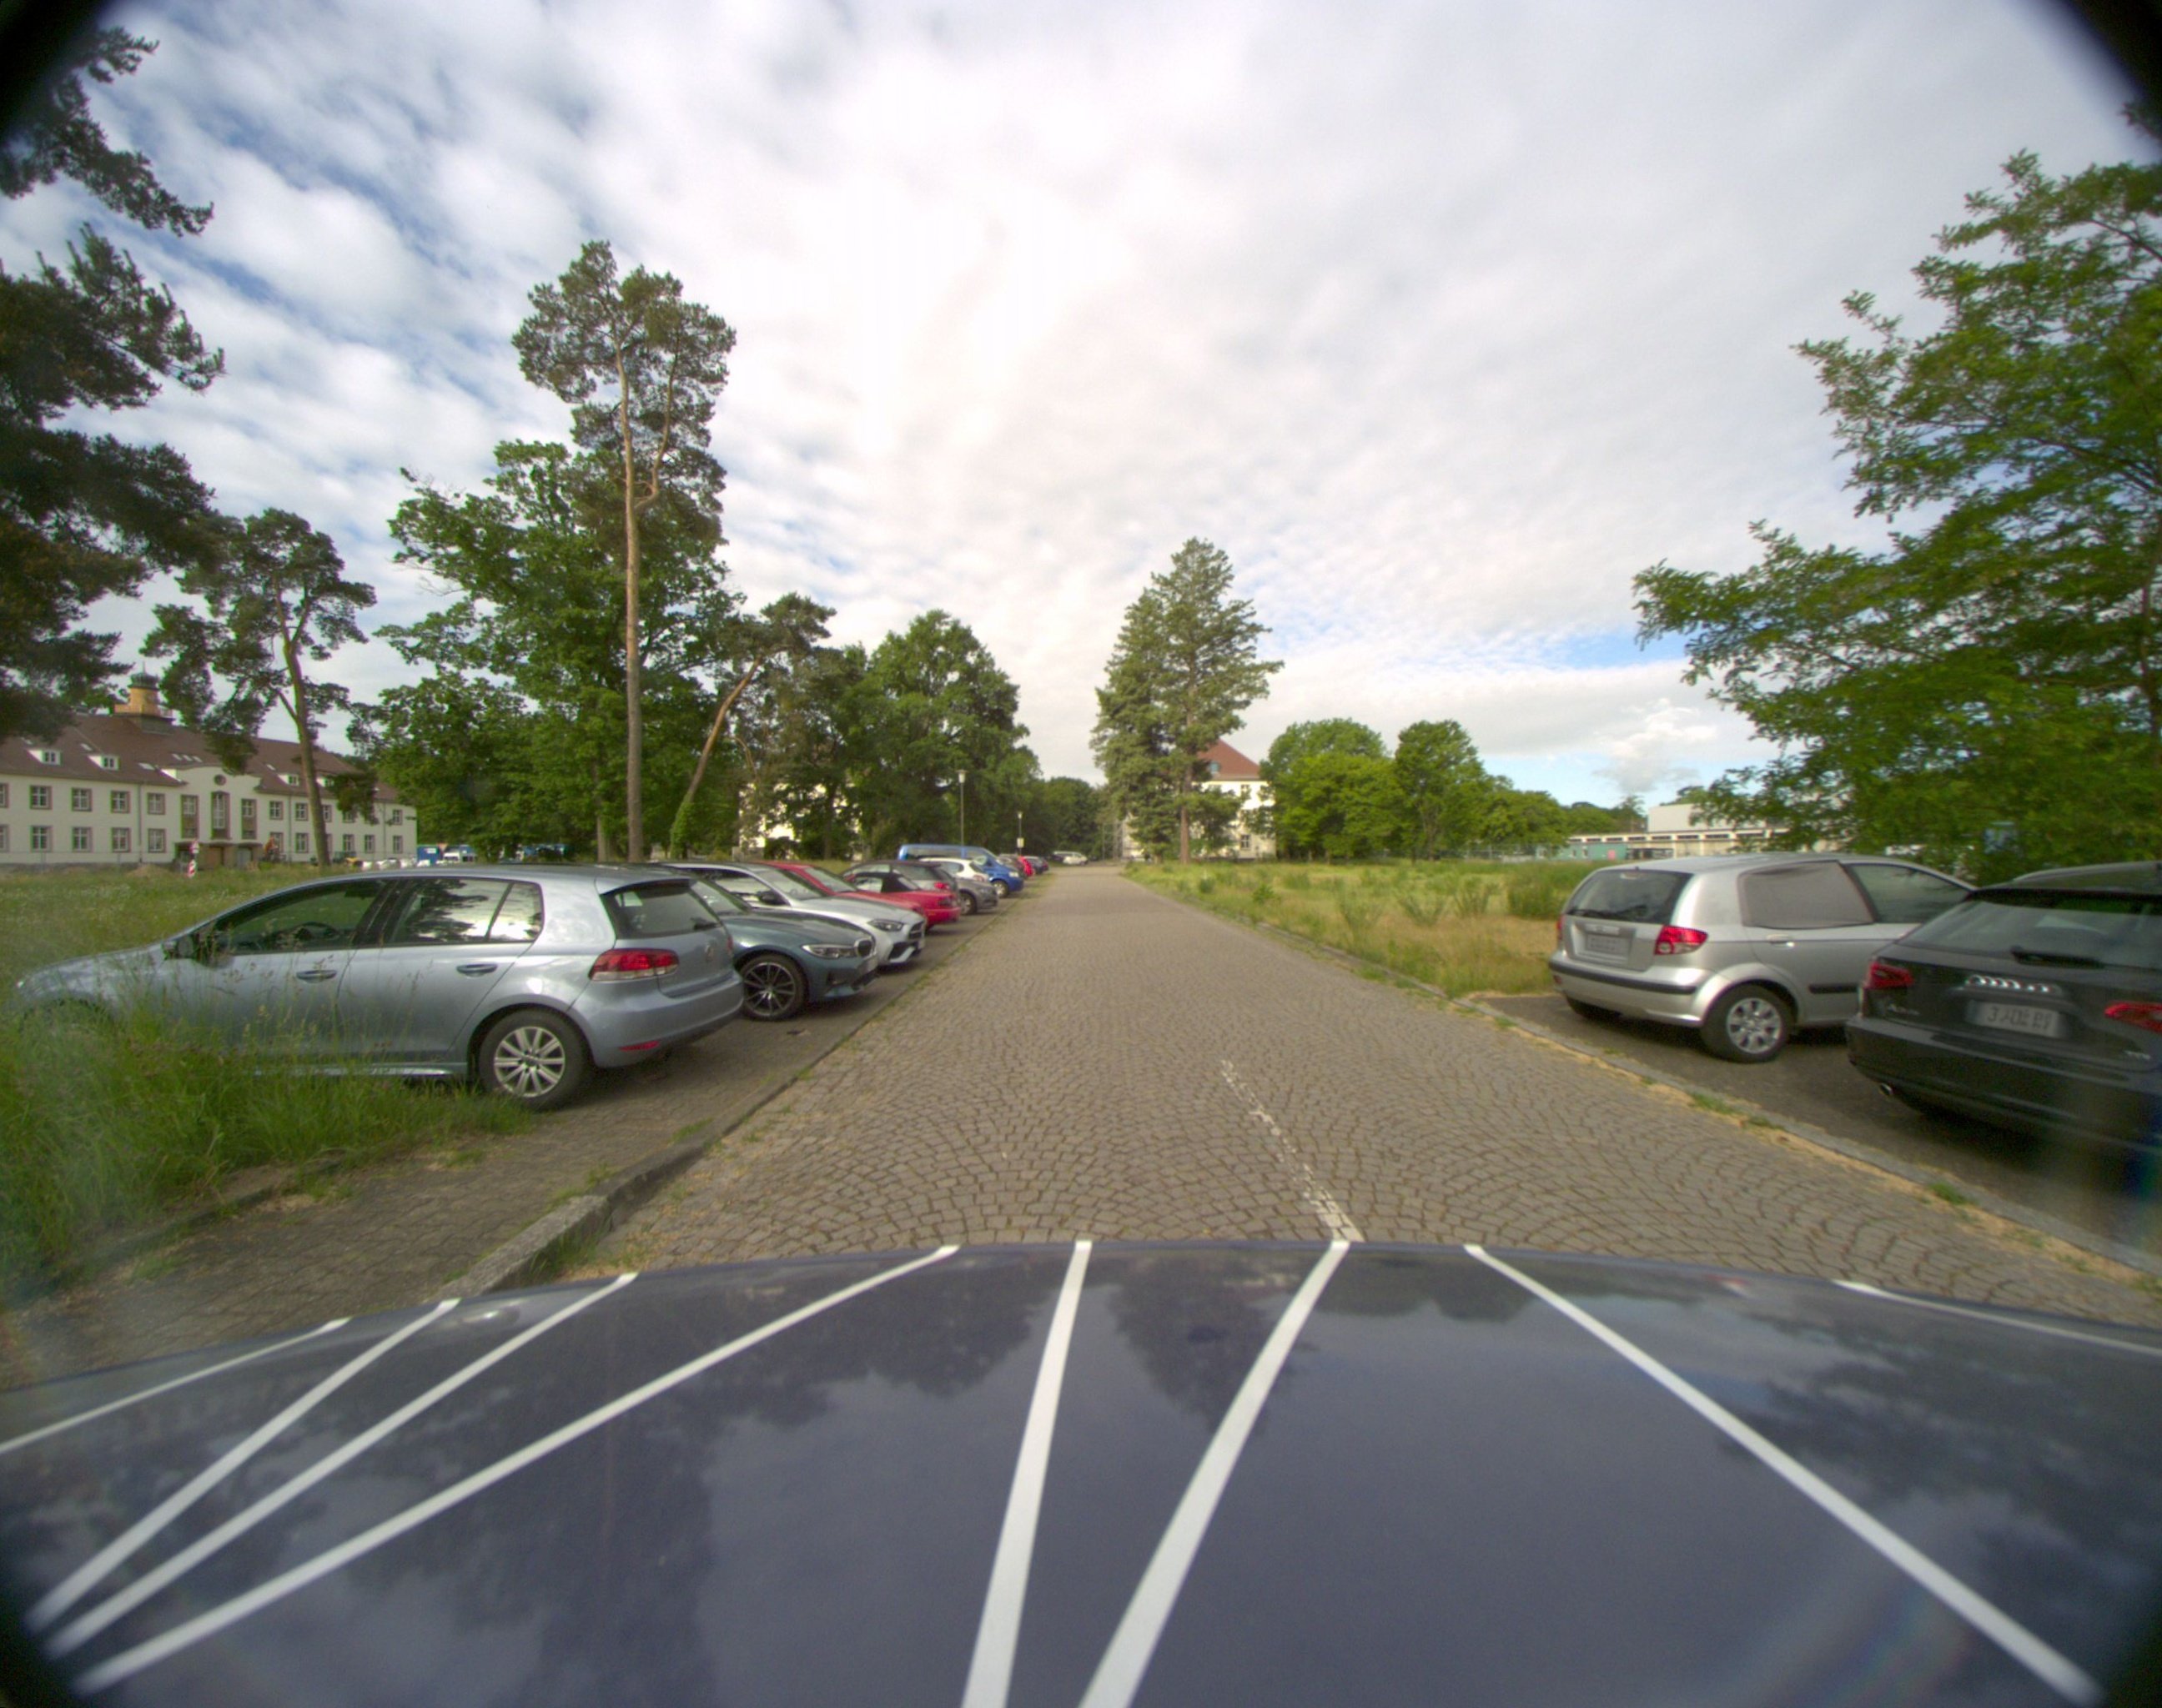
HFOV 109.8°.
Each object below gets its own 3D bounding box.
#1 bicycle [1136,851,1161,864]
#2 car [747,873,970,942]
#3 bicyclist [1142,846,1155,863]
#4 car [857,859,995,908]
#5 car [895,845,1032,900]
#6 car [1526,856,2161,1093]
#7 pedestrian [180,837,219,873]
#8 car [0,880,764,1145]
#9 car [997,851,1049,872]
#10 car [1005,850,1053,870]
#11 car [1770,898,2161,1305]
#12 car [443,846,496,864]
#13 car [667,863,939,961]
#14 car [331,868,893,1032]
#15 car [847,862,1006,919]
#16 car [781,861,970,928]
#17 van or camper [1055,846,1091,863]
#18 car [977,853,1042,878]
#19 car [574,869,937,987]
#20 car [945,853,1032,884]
[{"bbox_3d":[7.458,0.370,84.147,2.673,1.496,1.273,0,1,5],"label":"bicycle"},{"bbox_3d":[-4.344,1.032,15.271,3.932,1.227,1.797,0,1,1],"label":"car"},{"bbox_3d":[7.474,0.022,84.112,1.318,1.857,1.250,0,1,5],"label":"bicyclist"},{"bbox_3d":[-4.741,0.890,23.664,3.933,1.441,1.796,0,1,0],"label":"car"},{"bbox_3d":[-4.384,0.658,28.866,4.839,2.002,2.000,0,1,4],"label":"car"},{"bbox_3d":[6.068,0.823,6.156,3.985,1.447,1.680,-2,1,-5],"label":"car"},{"bbox_3d":[-54.773,0.065,47.222,1.184,2.165,1.056,0,1,0],"label":"pedestrian"},{"bbox_3d":[-4.540,0.917,5.166,3.997,1.410,1.796,0,1,1],"label":"car"},{"bbox_3d":[-4.460,0.555,58.404,3.791,1.560,2.000,0,1,1],"label":"car"},{"bbox_3d":[-4.269,0.514,62.884,3.791,1.615,2.000,0,1,1],"label":"car"},{"bbox_3d":[6.310,0.971,3.520,4.633,1.414,1.884,0,1,-3],"label":"car"},{"bbox_3d":[-68.454,0.100,85.139,2.166,2.002,4.833,0,0,-2],"label":"car"},{"bbox_3d":[-4.584,0.919,12.926,3.932,1.504,1.797,0,1,2],"label":"car"},{"bbox_3d":[-4.467,0.889,7.784,4.630,1.437,1.796,0,1,0],"label":"car"},{"bbox_3d":[-4.084,0.955,20.586,3.933,1.427,1.796,0,1,0],"label":"car"},{"bbox_3d":[-4.727,0.909,17.853,3.932,1.467,1.797,0,1,1],"label":"car"},{"bbox_3d":[-1.135,0.095,111.921,5.248,2.449,2.208,0,1,-2],"label":"van or camper"},{"bbox_3d":[-4.494,0.703,48.094,3.998,1.560,1.999,0,1,-3],"label":"car"},{"bbox_3d":[-4.318,0.954,10.539,4.266,1.437,1.797,0,1,2],"label":"car"},{"bbox_3d":[-4.554,0.713,37.799,3.996,1.496,1.869,0,1,2],"label":"car"}]
